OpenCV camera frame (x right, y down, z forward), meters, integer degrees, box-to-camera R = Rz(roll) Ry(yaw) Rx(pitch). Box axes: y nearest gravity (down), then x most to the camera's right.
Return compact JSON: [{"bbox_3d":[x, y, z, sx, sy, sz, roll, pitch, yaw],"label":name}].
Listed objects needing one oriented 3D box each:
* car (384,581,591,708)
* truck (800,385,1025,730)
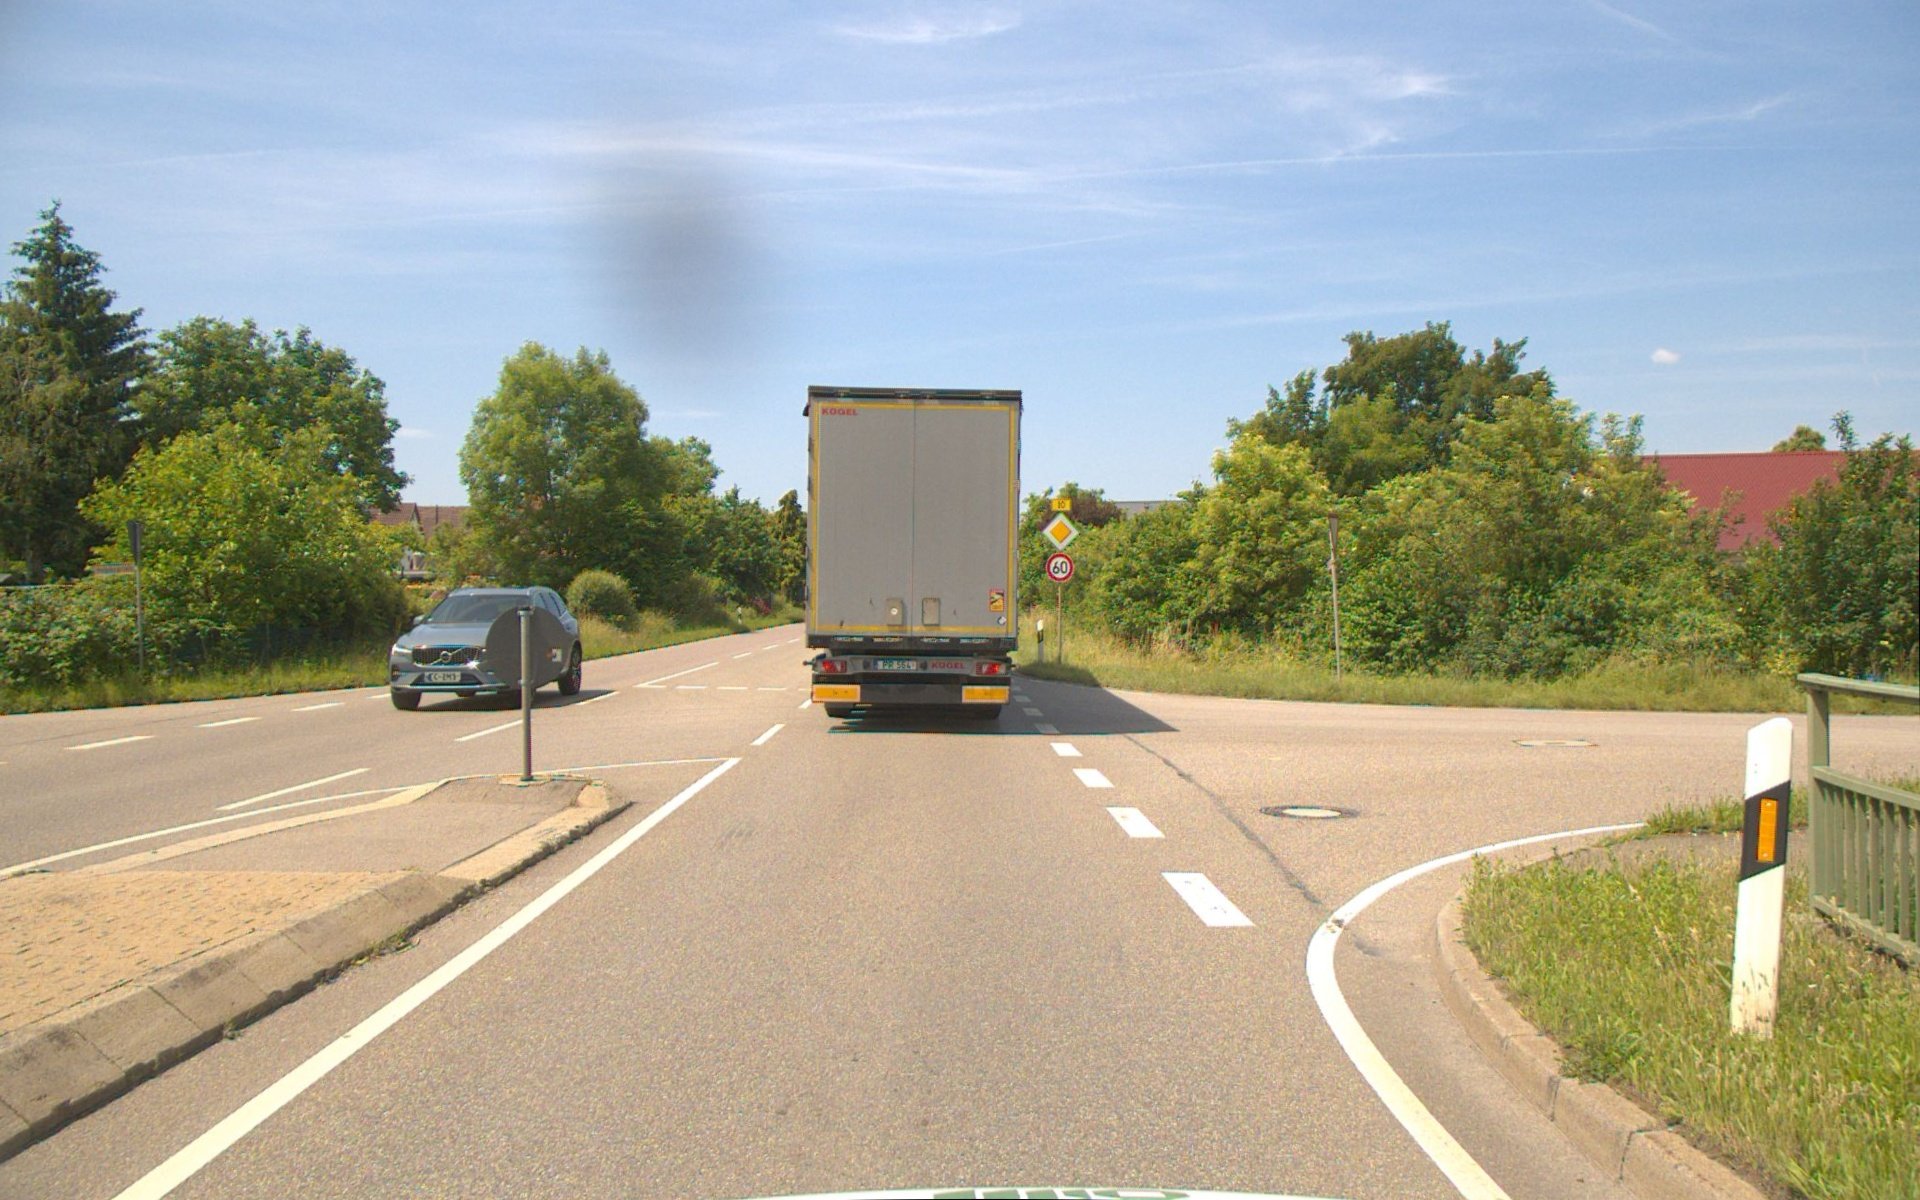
[{"bbox_3d":[-6.846,0.597,24.447,1.909,1.683,4.430,-1,0,-2],"label":"car"},{"bbox_3d":[-0.763,-0.520,23.587,2.594,3.985,8.820,0,0,-3],"label":"truck"}]
